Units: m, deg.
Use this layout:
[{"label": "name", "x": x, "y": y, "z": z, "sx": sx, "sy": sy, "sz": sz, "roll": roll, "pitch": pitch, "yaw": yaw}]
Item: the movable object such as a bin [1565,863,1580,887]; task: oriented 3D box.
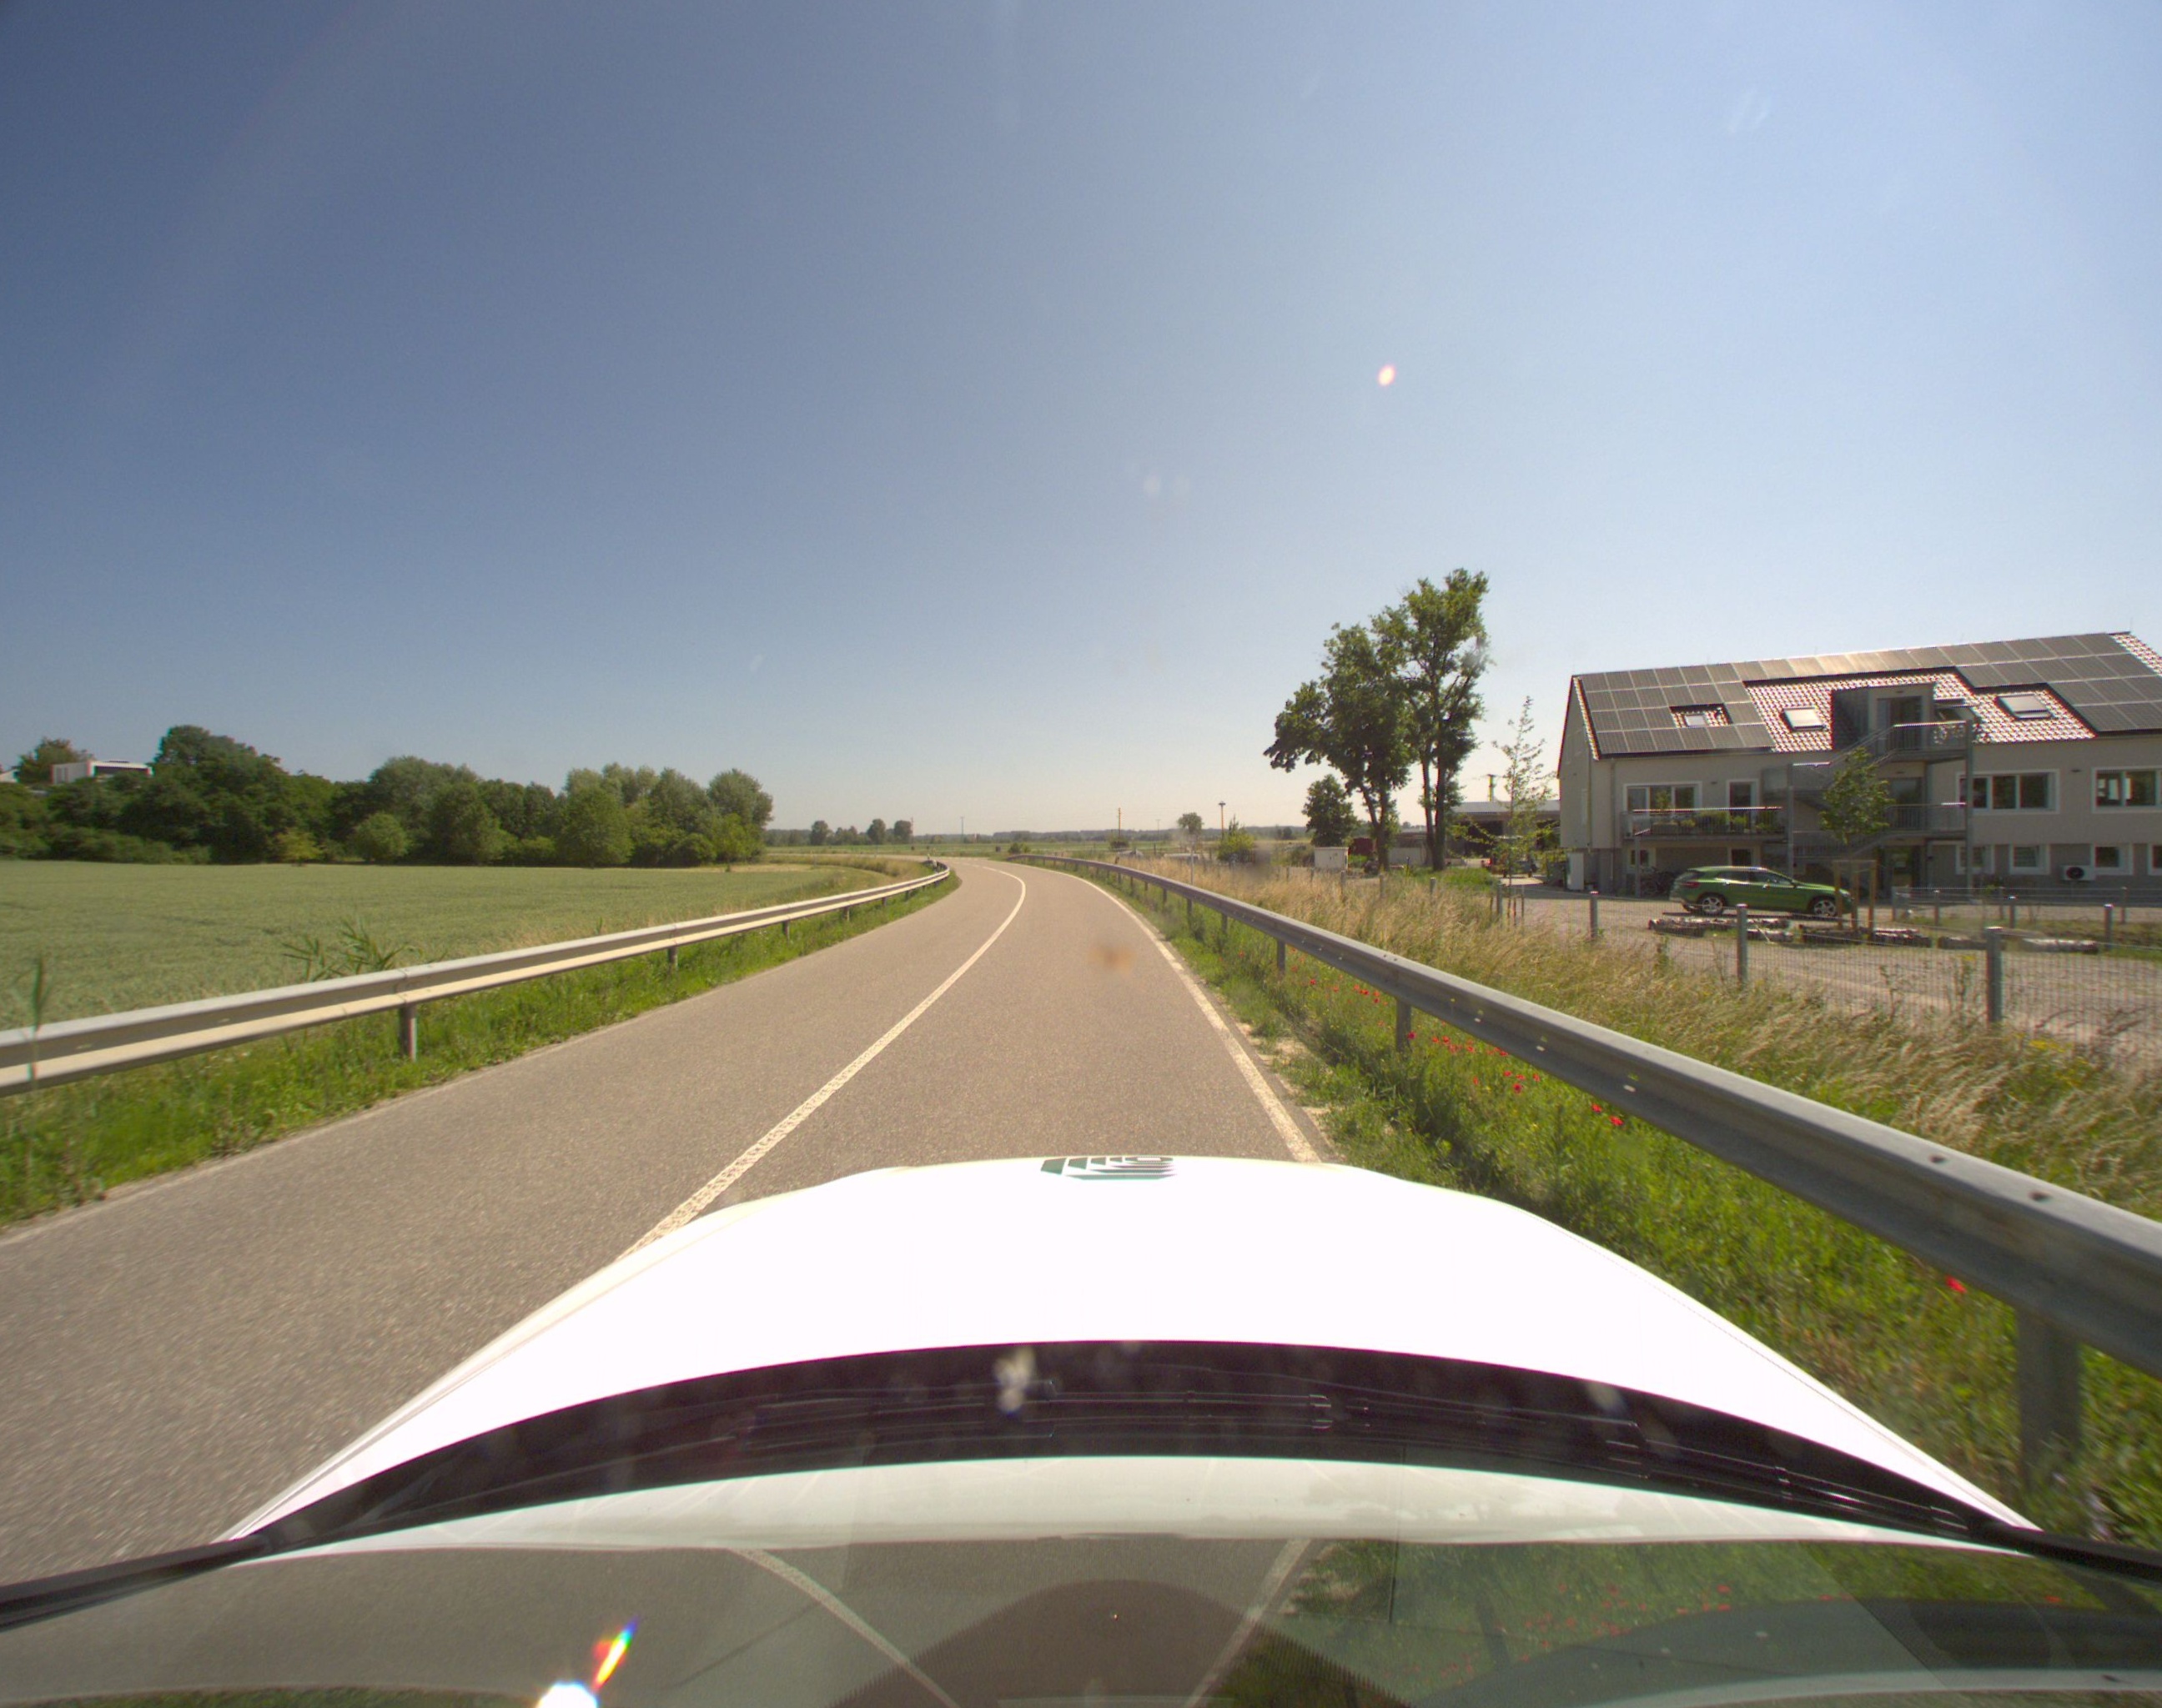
[{"label": "movable object such as a bin", "x": 23.359, "y": 0.993, "z": 38.727, "sx": 0.571, "sy": 1.150, "sz": 0.665, "roll": 0, "pitch": 1, "yaw": 26}]

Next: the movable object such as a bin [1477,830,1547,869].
[{"label": "movable object such as a bin", "x": 32.890, "y": -0.389, "z": 62.380, "sx": 2.983, "sy": 2.769, "sz": 6.526, "roll": 1, "pitch": 1, "yaw": 11}]

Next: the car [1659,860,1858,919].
[{"label": "car", "x": 20.503, "y": 1.021, "z": 24.901, "sx": 4.320, "sy": 1.580, "sz": 1.944, "roll": 1, "pitch": -1, "yaw": 24}]

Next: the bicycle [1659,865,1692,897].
[{"label": "bicycle", "x": 24.054, "y": 1.062, "z": 32.967, "sx": 0.706, "sy": 1.191, "sz": 1.981, "roll": 1, "pitch": 1, "yaw": 25}]

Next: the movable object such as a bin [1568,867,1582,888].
[{"label": "movable object such as a bin", "x": 23.135, "y": 1.096, "z": 38.146, "sx": 0.497, "sy": 0.910, "sz": 0.563, "roll": 0, "pitch": 1, "yaw": 26}]

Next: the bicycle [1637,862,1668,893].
[{"label": "bicycle", "x": 23.387, "y": 0.947, "z": 33.352, "sx": 0.706, "sy": 1.191, "sz": 1.982, "roll": 0, "pitch": 1, "yaw": 26}]

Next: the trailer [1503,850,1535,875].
[{"label": "trailer", "x": 27.822, "y": 0.553, "z": 51.694, "sx": 1.694, "sy": 1.496, "sz": 3.160, "roll": 0, "pitch": -1, "yaw": 30}]
